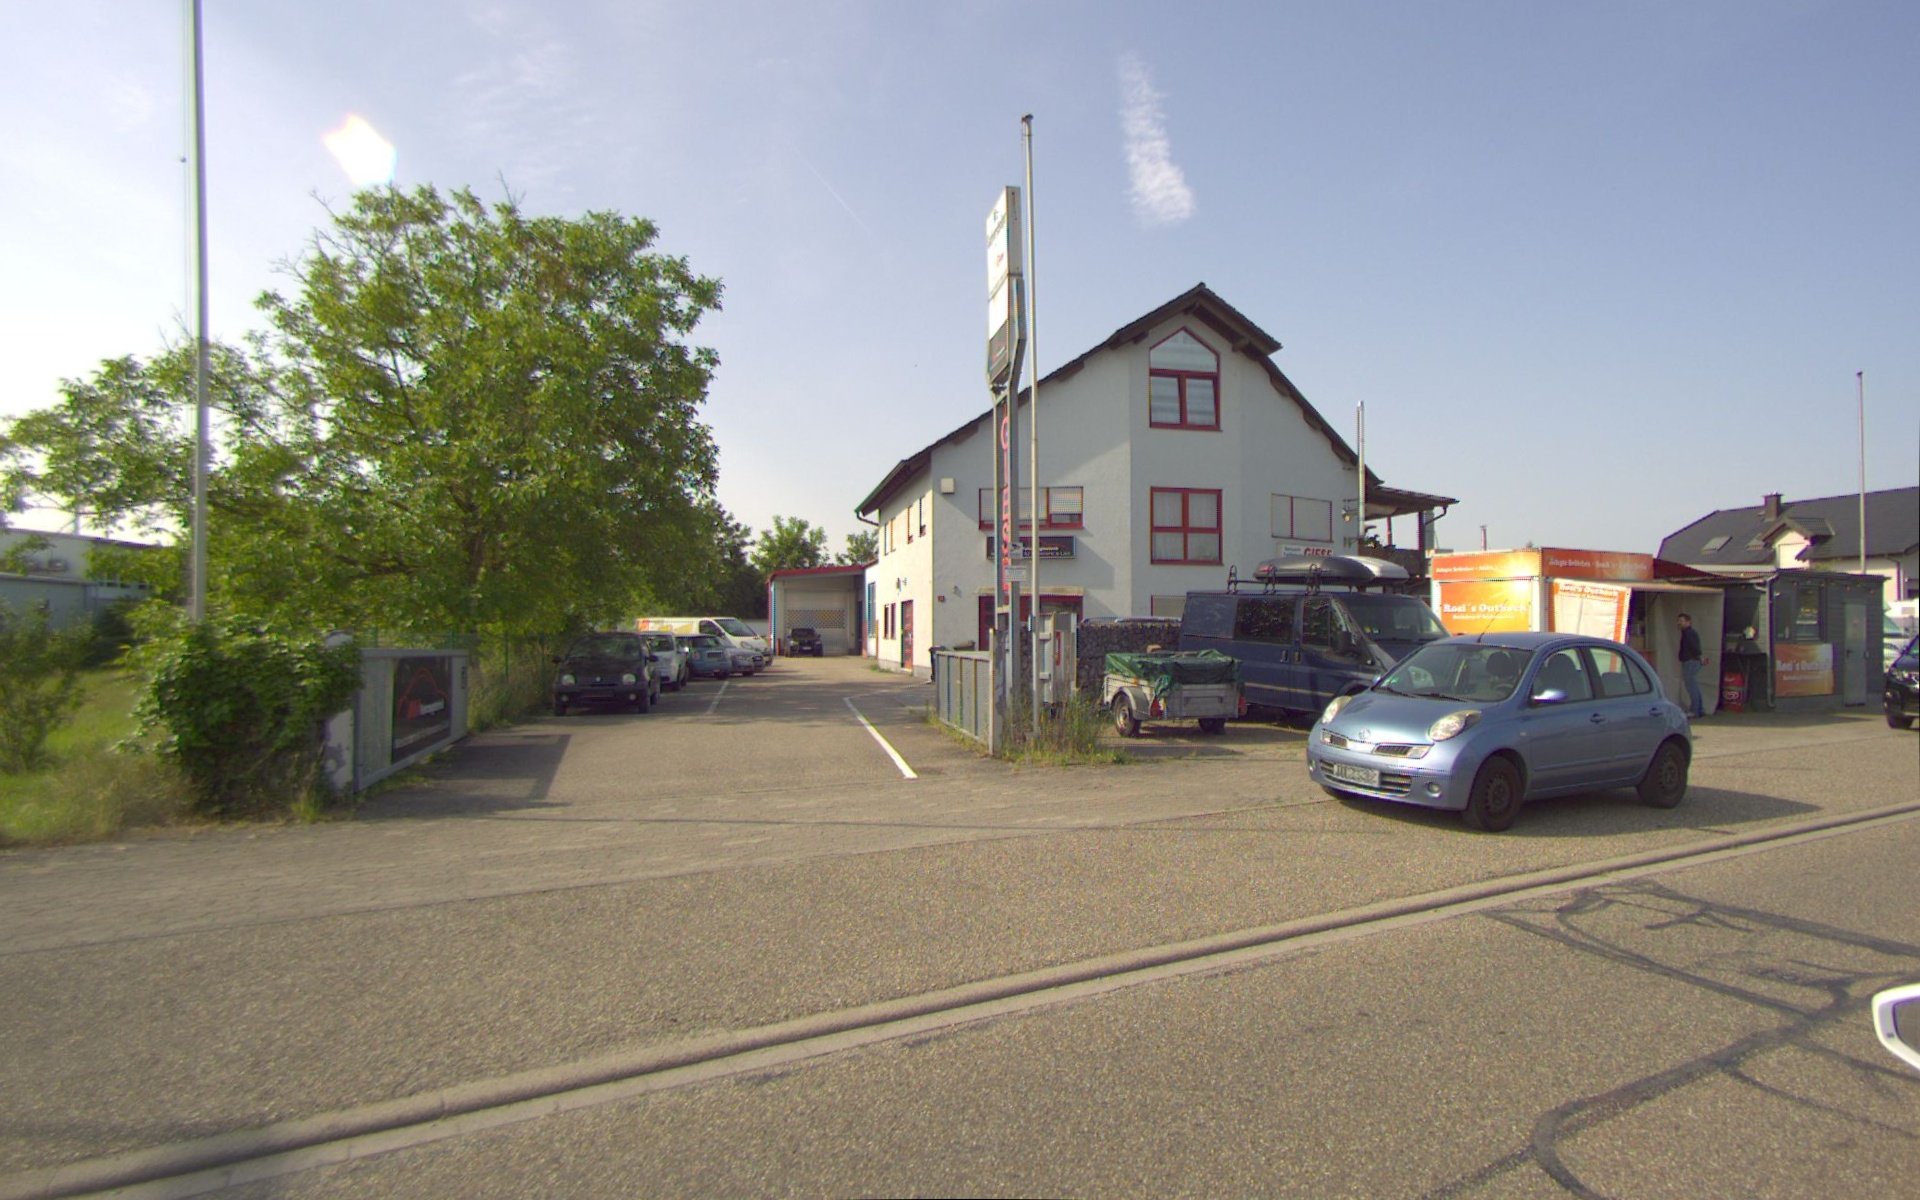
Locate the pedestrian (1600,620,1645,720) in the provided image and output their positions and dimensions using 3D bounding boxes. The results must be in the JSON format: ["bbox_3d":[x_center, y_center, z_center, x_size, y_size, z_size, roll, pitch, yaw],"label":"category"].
[{"bbox_3d":[11.569,1.209,17.541,0.533,1.710,0.407,1,-3,-26],"label":"pedestrian"}]

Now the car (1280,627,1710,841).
[{"bbox_3d":[4.759,1.038,8.902,3.559,1.537,1.627,1,-1,-27],"label":"car"}]

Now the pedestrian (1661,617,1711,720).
[{"bbox_3d":[12.483,1.172,17.287,0.553,1.737,0.534,-1,-2,23],"label":"pedestrian"}]

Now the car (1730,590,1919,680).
[{"bbox_3d":[27.586,1.141,31.900,2.106,2.619,4.813,0,-3,-8],"label":"car"}]

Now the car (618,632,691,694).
[{"bbox_3d":[-7.705,1.554,25.545,1.424,1.451,3.487,0,-2,-11],"label":"car"}]

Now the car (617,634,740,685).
[{"bbox_3d":[-8.281,1.727,29.588,3.244,1.401,1.438,1,-3,-31],"label":"car"}]

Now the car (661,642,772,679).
[{"bbox_3d":[-7.898,1.949,32.656,3.216,1.157,1.450,-1,-2,18],"label":"car"}]

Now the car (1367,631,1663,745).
[{"bbox_3d":[8.318,1.233,15.330,1.743,1.433,3.567,1,-1,-32],"label":"car"}]

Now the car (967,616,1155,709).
[{"bbox_3d":[1.998,1.201,19.768,3.431,1.683,1.540,1,-2,-28],"label":"car"}]

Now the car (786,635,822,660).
[{"bbox_3d":[-8.889,2.686,57.072,1.794,1.359,3.723,0,-2,-12],"label":"car"}]

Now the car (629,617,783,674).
[{"bbox_3d":[-9.072,1.633,35.919,5.175,1.940,1.844,-1,-2,18],"label":"car"}]

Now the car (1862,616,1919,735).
[{"bbox_3d":[16.594,1.201,16.264,4.153,1.798,1.791,1,0,-30],"label":"car"}]

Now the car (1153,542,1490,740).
[{"bbox_3d":[5.094,0.613,14.915,1.974,2.448,4.611,1,-3,-27],"label":"car"}]

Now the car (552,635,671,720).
[{"bbox_3d":[-6.338,1.350,18.551,1.632,1.408,3.229,0,-2,-11],"label":"car"}]

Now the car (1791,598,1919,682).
[{"bbox_3d":[30.984,1.329,33.058,2.529,2.619,5.168,0,-3,-8],"label":"car"}]

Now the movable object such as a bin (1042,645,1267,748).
[{"bbox_3d":[2.663,1.298,14.490,1.735,1.162,3.319,1,-1,-20],"label":"movable object such as a bin"}]
